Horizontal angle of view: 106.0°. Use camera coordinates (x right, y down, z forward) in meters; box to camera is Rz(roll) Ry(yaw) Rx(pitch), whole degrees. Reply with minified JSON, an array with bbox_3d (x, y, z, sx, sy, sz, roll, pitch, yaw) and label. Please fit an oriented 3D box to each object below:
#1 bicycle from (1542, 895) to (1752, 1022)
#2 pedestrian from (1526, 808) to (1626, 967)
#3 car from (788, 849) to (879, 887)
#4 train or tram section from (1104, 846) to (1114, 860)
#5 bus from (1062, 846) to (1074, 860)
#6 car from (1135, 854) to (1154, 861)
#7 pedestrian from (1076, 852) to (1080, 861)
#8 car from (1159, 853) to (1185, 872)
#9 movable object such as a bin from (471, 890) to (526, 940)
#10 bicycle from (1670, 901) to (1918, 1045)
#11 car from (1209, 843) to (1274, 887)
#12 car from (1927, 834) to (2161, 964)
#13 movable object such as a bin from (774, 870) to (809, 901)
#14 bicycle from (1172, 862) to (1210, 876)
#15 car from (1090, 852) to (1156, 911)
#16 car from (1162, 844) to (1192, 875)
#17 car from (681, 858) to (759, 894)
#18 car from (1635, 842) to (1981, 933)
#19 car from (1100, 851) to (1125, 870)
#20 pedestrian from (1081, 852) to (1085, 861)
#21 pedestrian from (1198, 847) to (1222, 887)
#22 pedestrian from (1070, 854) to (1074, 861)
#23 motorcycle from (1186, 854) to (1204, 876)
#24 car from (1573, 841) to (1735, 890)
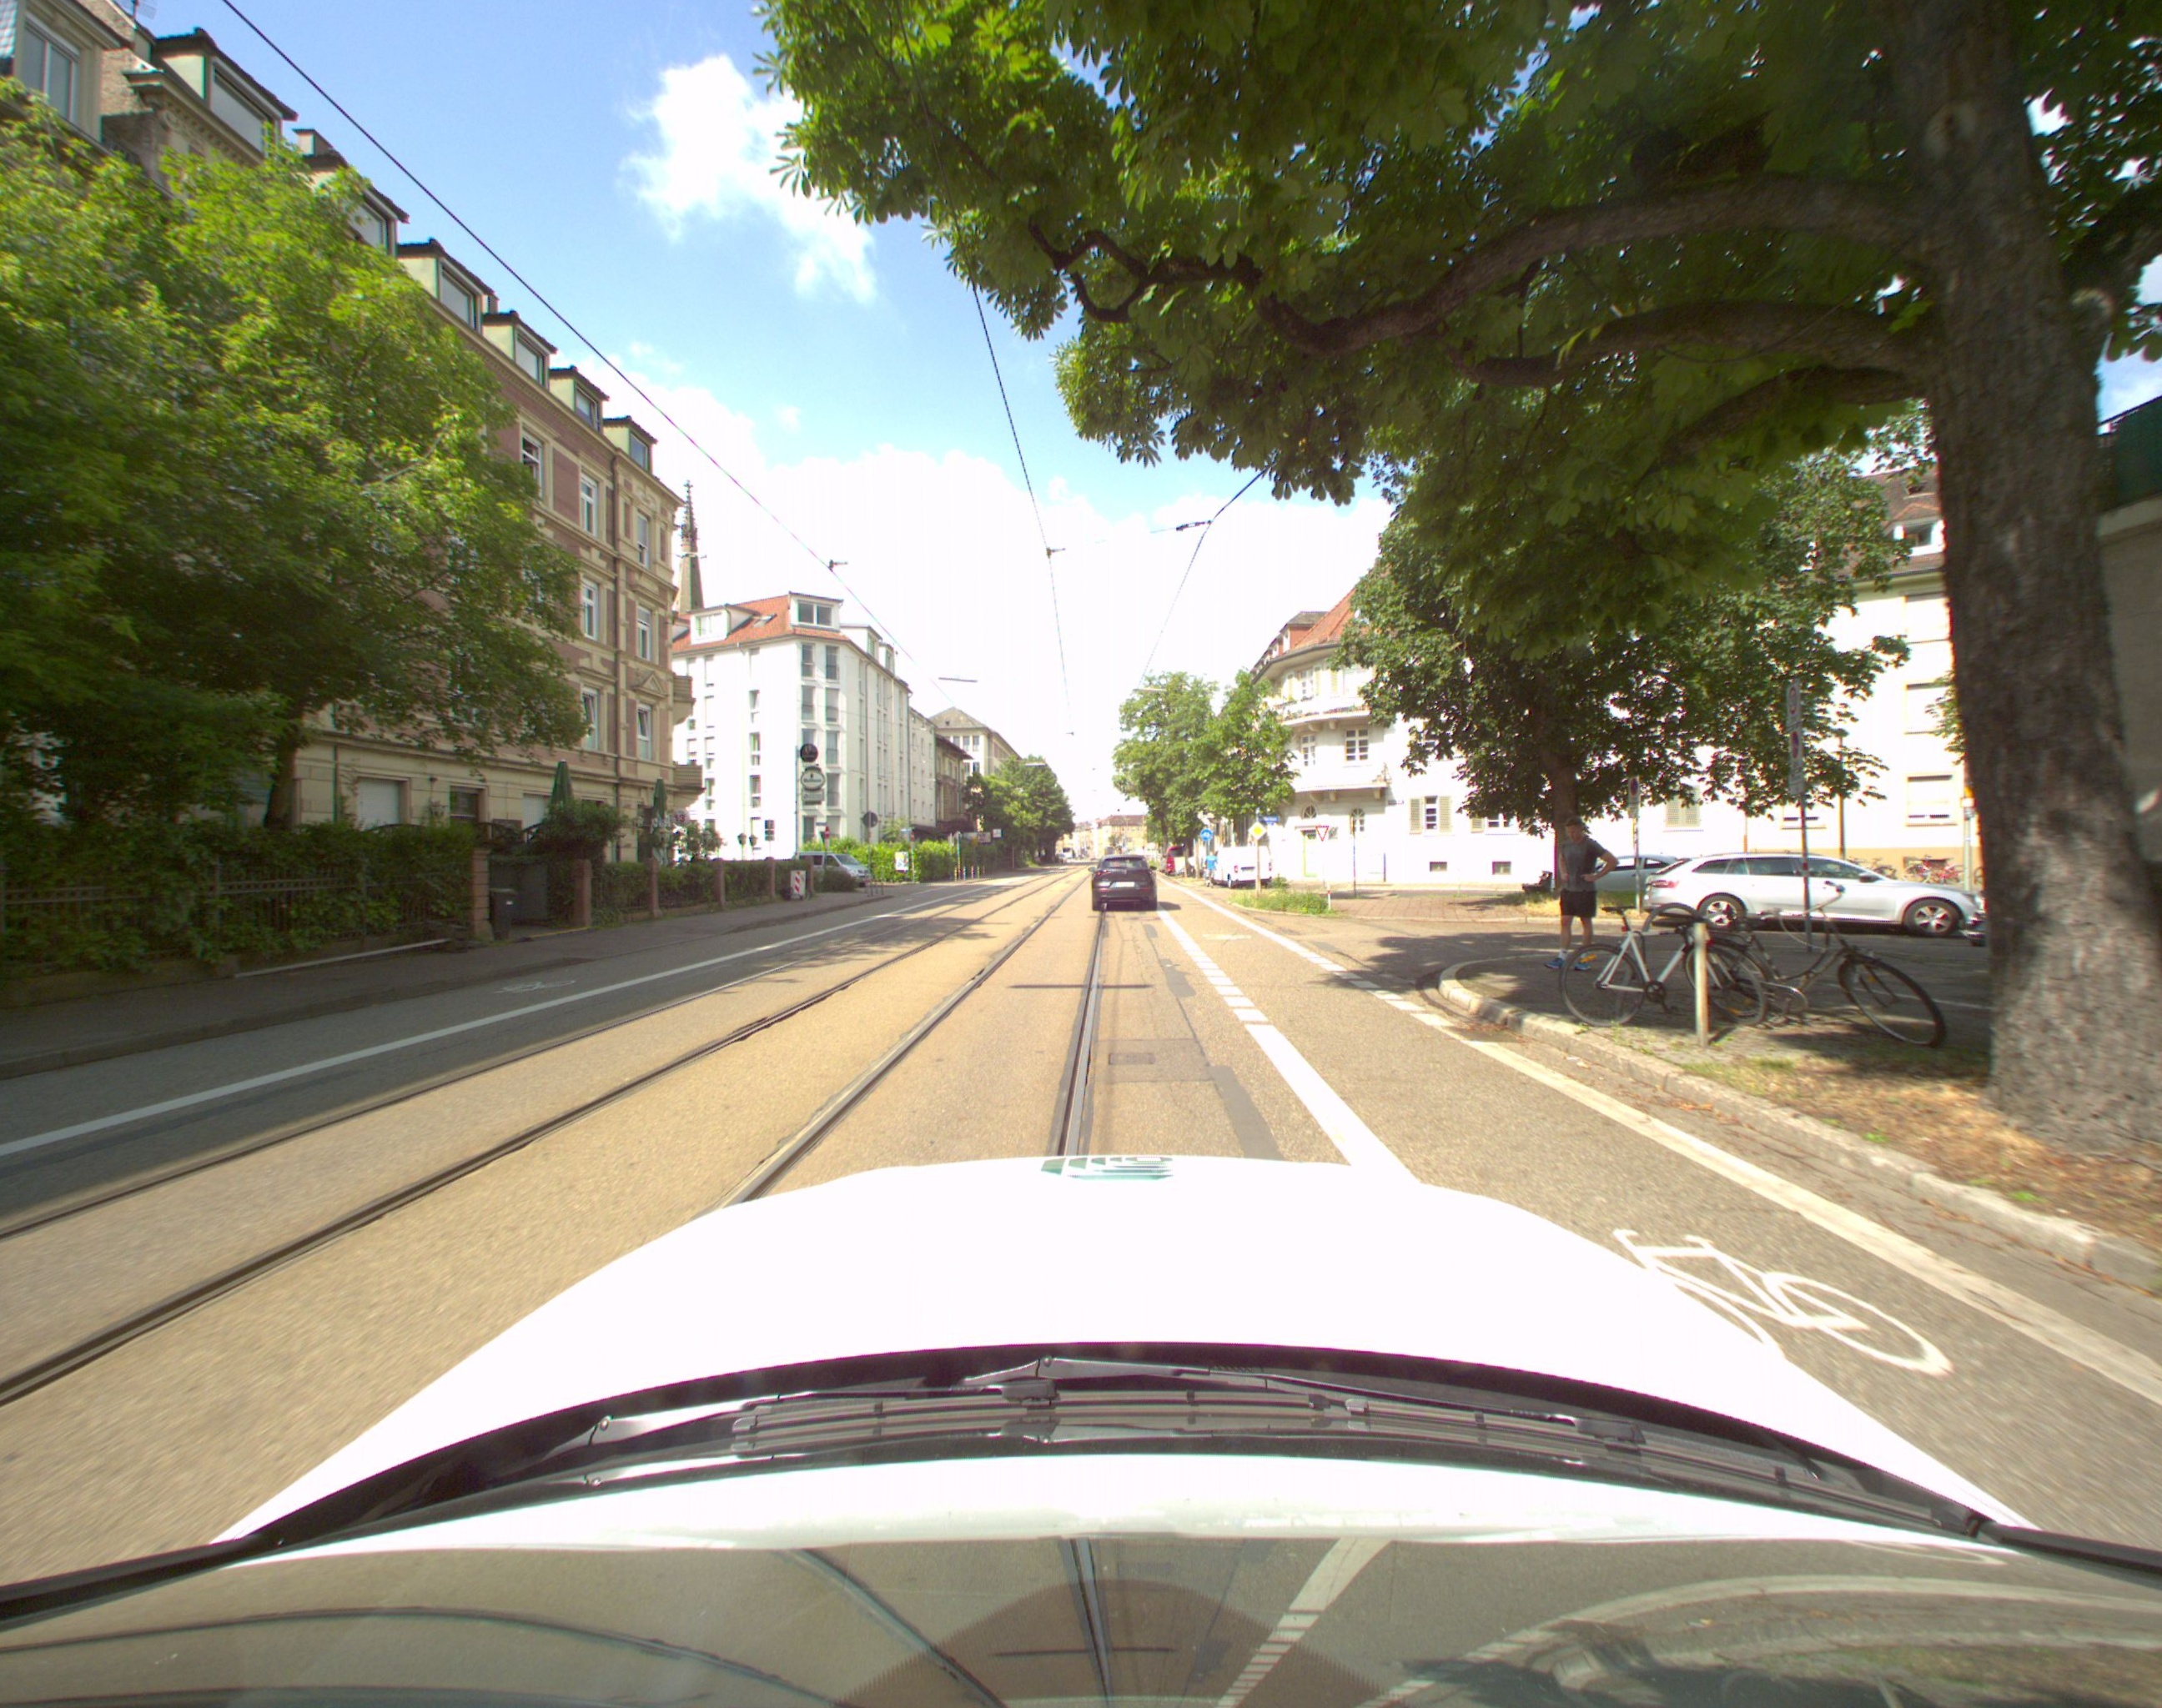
[{"bbox_3d":[4.648,0.854,6.721,1.485,0.983,0.259,-2,-1,3],"label":"bicycle"},{"bbox_3d":[6.007,0.398,9.926,0.608,1.836,0.878,-1,-2,0],"label":"pedestrian"},{"bbox_3d":[-13.843,0.771,45.515,4.620,2.013,2.058,-1,0,24],"label":"car"},{"bbox_3d":[7.971,-0.231,230.221,2.561,3.772,13.034,-1,0,3],"label":"train or tram section"},{"bbox_3d":[-3.450,-0.276,215.800,2.683,3.421,11.002,1,0,-4],"label":"bus"},{"bbox_3d":[14.024,0.797,180.571,3.814,1.618,1.629,1,0,-16],"label":"car"},{"bbox_3d":[-0.738,0.565,194.109,0.882,2.013,0.617,-1,0,-2],"label":"pedestrian"},{"bbox_3d":[7.076,0.618,63.871,1.714,1.424,3.591,-1,0,2],"label":"car"},{"bbox_3d":[-10.784,1.120,15.099,0.560,0.876,0.616,-1,0,2],"label":"movable object such as a bin"},{"bbox_3d":[5.583,0.875,6.526,0.258,0.900,1.768,-1,0,-6],"label":"bicycle"},{"bbox_3d":[7.536,0.469,38.822,1.783,1.938,4.984,-1,0,-4],"label":"car"},{"bbox_3d":[12.552,0.491,9.360,3.520,1.406,1.718,-1,-1,25],"label":"car"},{"bbox_3d":[-9.908,1.069,27.870,0.742,0.988,1.114,1,0,2],"label":"movable object such as a bin"},{"bbox_3d":[6.990,0.949,51.815,2.267,0.861,0.672,-1,0,0],"label":"bicycle"},{"bbox_3d":[1.162,0.722,23.209,1.714,1.526,3.591,-1,0,2],"label":"car"},{"bbox_3d":[6.537,0.359,55.706,1.714,1.968,4.210,-1,0,3],"label":"car"},{"bbox_3d":[-16.603,0.987,37.602,1.377,1.567,3.201,-1,0,21],"label":"car"},{"bbox_3d":[13.216,0.586,15.263,4.516,1.476,1.880,-1,-1,29],"label":"car"},{"bbox_3d":[2.623,0.504,68.619,1.986,1.529,4.001,1,0,2],"label":"car"},{"bbox_3d":[0.443,0.608,194.083,0.882,2.013,0.617,-1,0,-2],"label":"pedestrian"},{"bbox_3d":[6.069,0.599,38.258,0.807,1.835,0.968,0,0,28],"label":"pedestrian"},{"bbox_3d":[-1.908,0.714,169.917,0.749,1.510,0.823,-1,0,-3],"label":"pedestrian"},{"bbox_3d":[6.842,0.671,48.937,0.791,1.271,2.423,-1,0,2],"label":"motorcycle"},{"bbox_3d":[17.645,0.365,25.309,3.949,1.411,1.662,-1,-1,30],"label":"car"}]
